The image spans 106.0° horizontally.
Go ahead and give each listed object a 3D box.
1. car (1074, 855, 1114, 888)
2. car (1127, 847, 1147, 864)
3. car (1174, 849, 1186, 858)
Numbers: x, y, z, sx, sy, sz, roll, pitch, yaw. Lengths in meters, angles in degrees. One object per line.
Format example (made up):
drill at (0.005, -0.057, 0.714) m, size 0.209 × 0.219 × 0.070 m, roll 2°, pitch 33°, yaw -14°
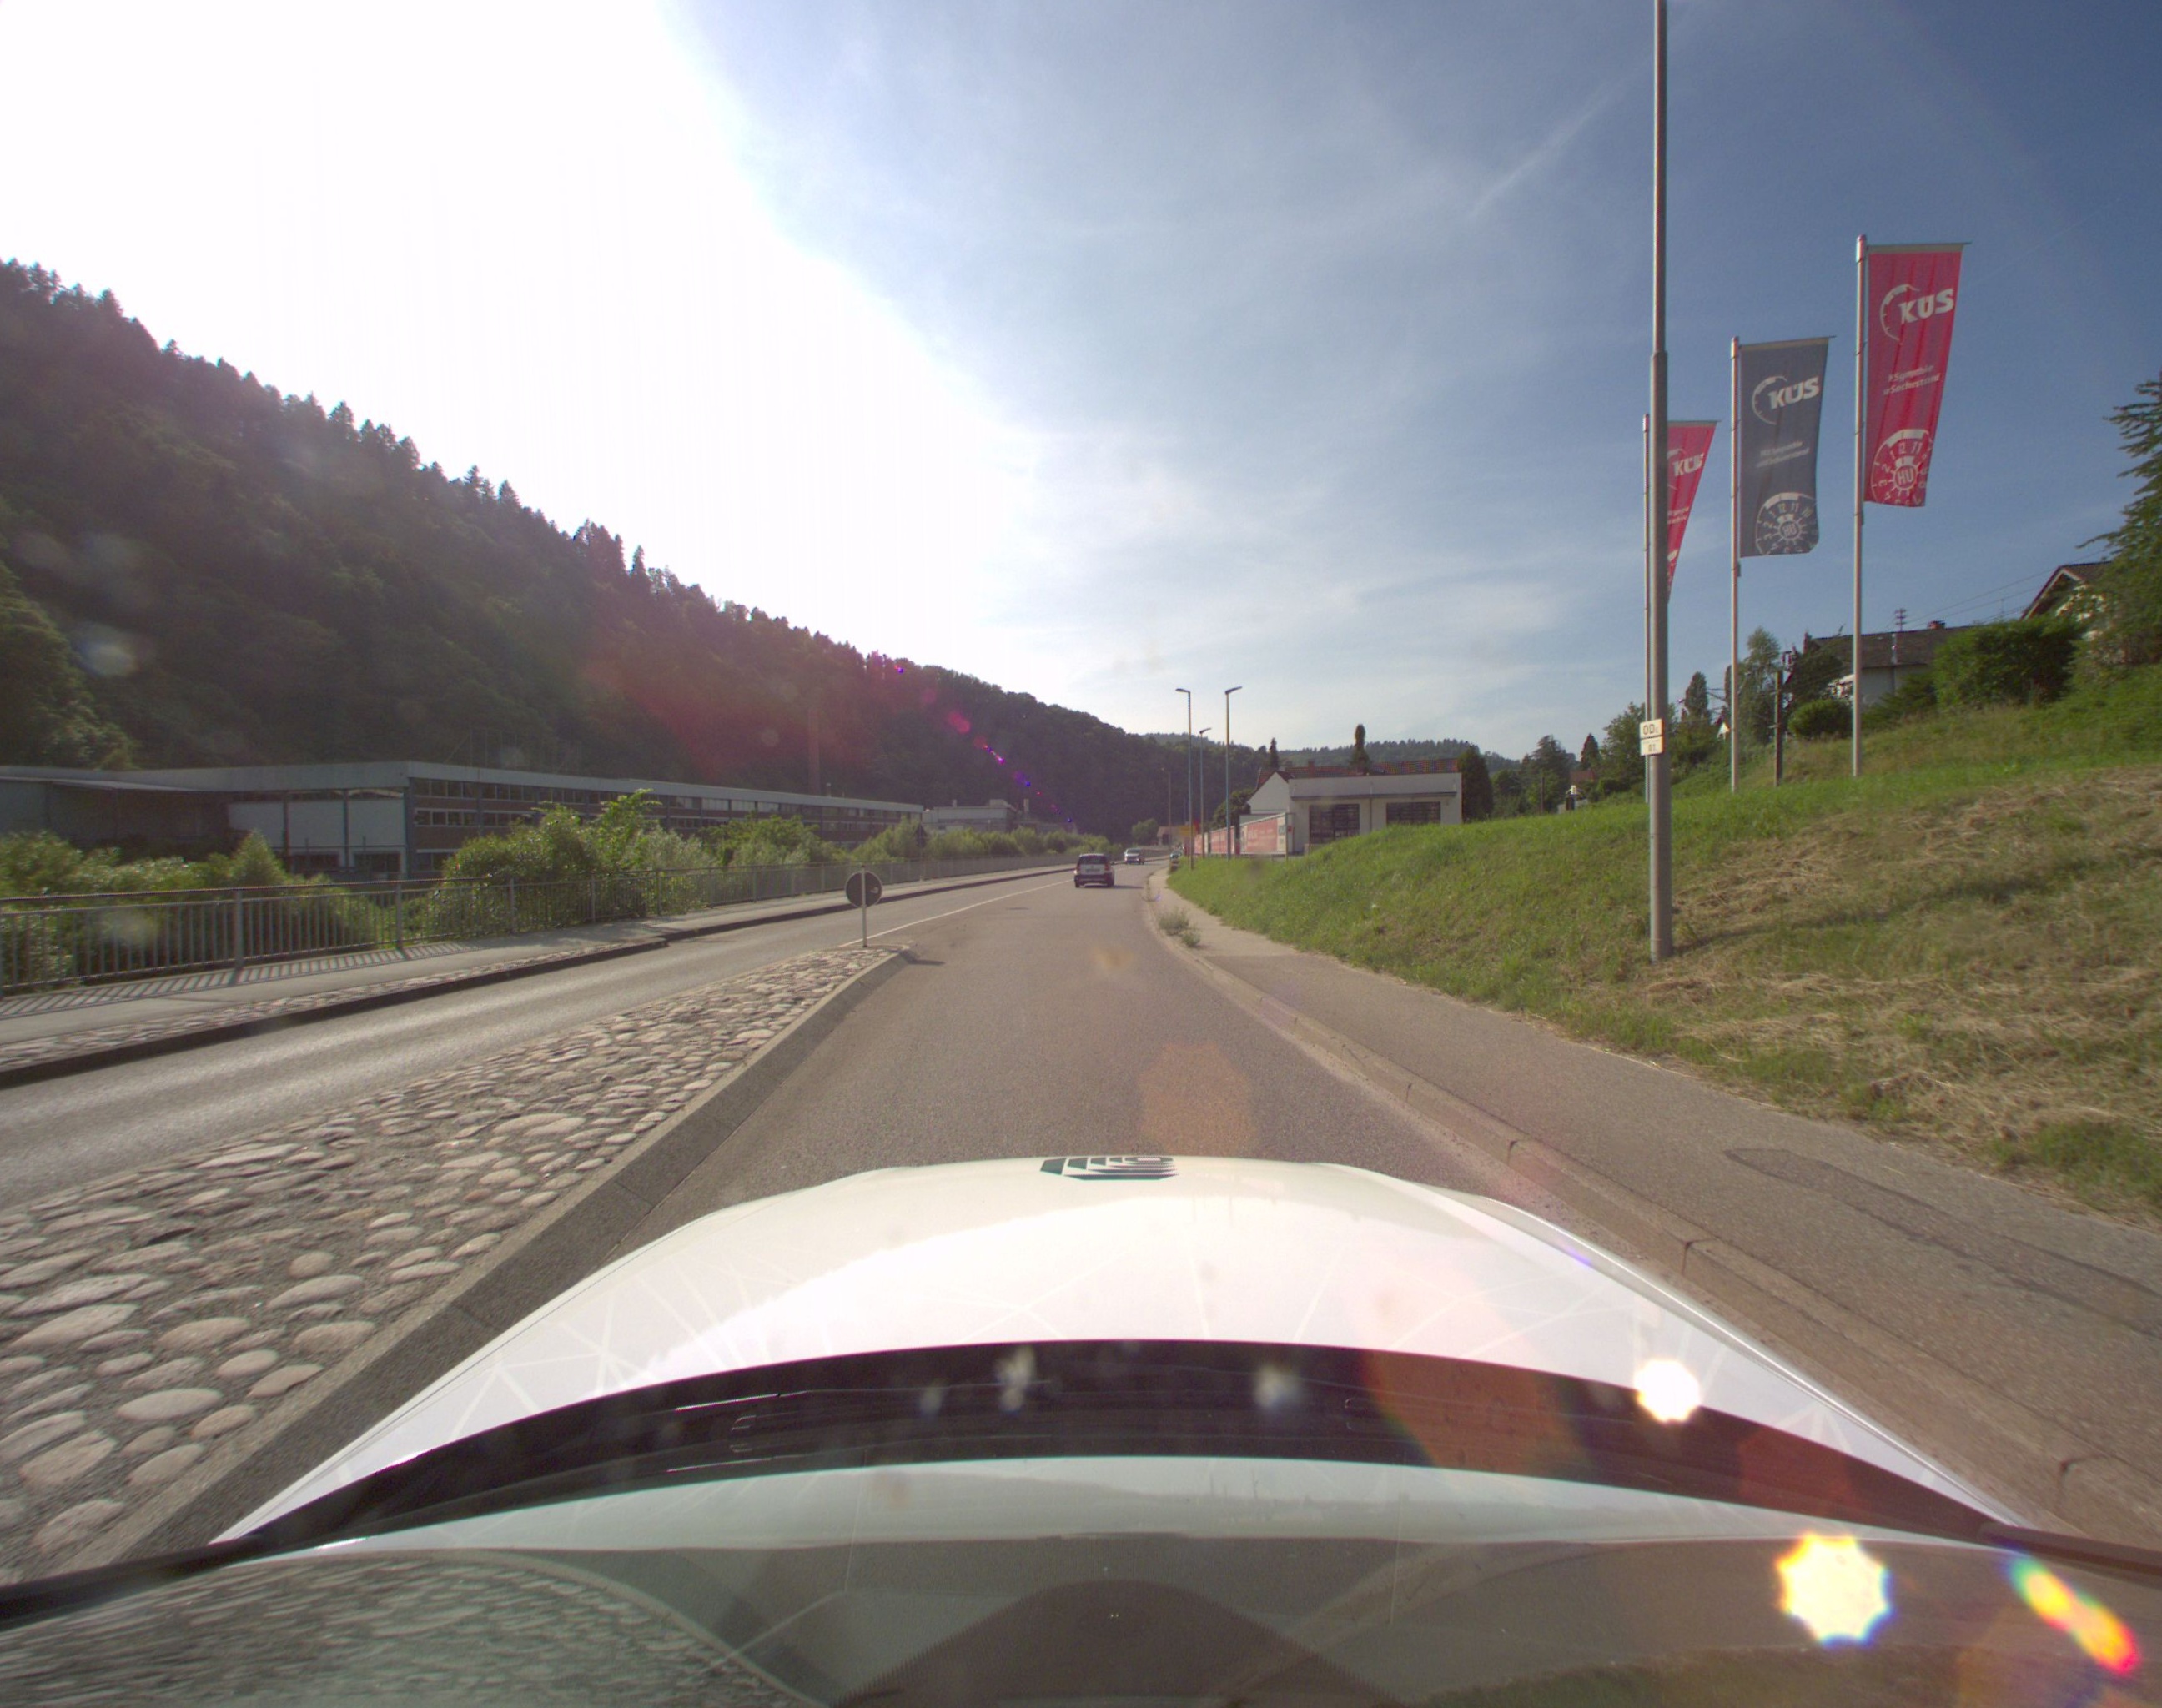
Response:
car at (0.696, 0.838, 40.505) m, size 1.854 × 1.544 × 4.375 m, roll 0°, pitch 0°, yaw 2°
car at (6.882, 0.209, 99.935) m, size 1.908 × 1.967 × 5.160 m, roll -2°, pitch -1°, yaw 10°
car at (17.569, -0.047, 144.372) m, size 1.802 × 1.484 × 4.809 m, roll -1°, pitch -1°, yaw 9°
